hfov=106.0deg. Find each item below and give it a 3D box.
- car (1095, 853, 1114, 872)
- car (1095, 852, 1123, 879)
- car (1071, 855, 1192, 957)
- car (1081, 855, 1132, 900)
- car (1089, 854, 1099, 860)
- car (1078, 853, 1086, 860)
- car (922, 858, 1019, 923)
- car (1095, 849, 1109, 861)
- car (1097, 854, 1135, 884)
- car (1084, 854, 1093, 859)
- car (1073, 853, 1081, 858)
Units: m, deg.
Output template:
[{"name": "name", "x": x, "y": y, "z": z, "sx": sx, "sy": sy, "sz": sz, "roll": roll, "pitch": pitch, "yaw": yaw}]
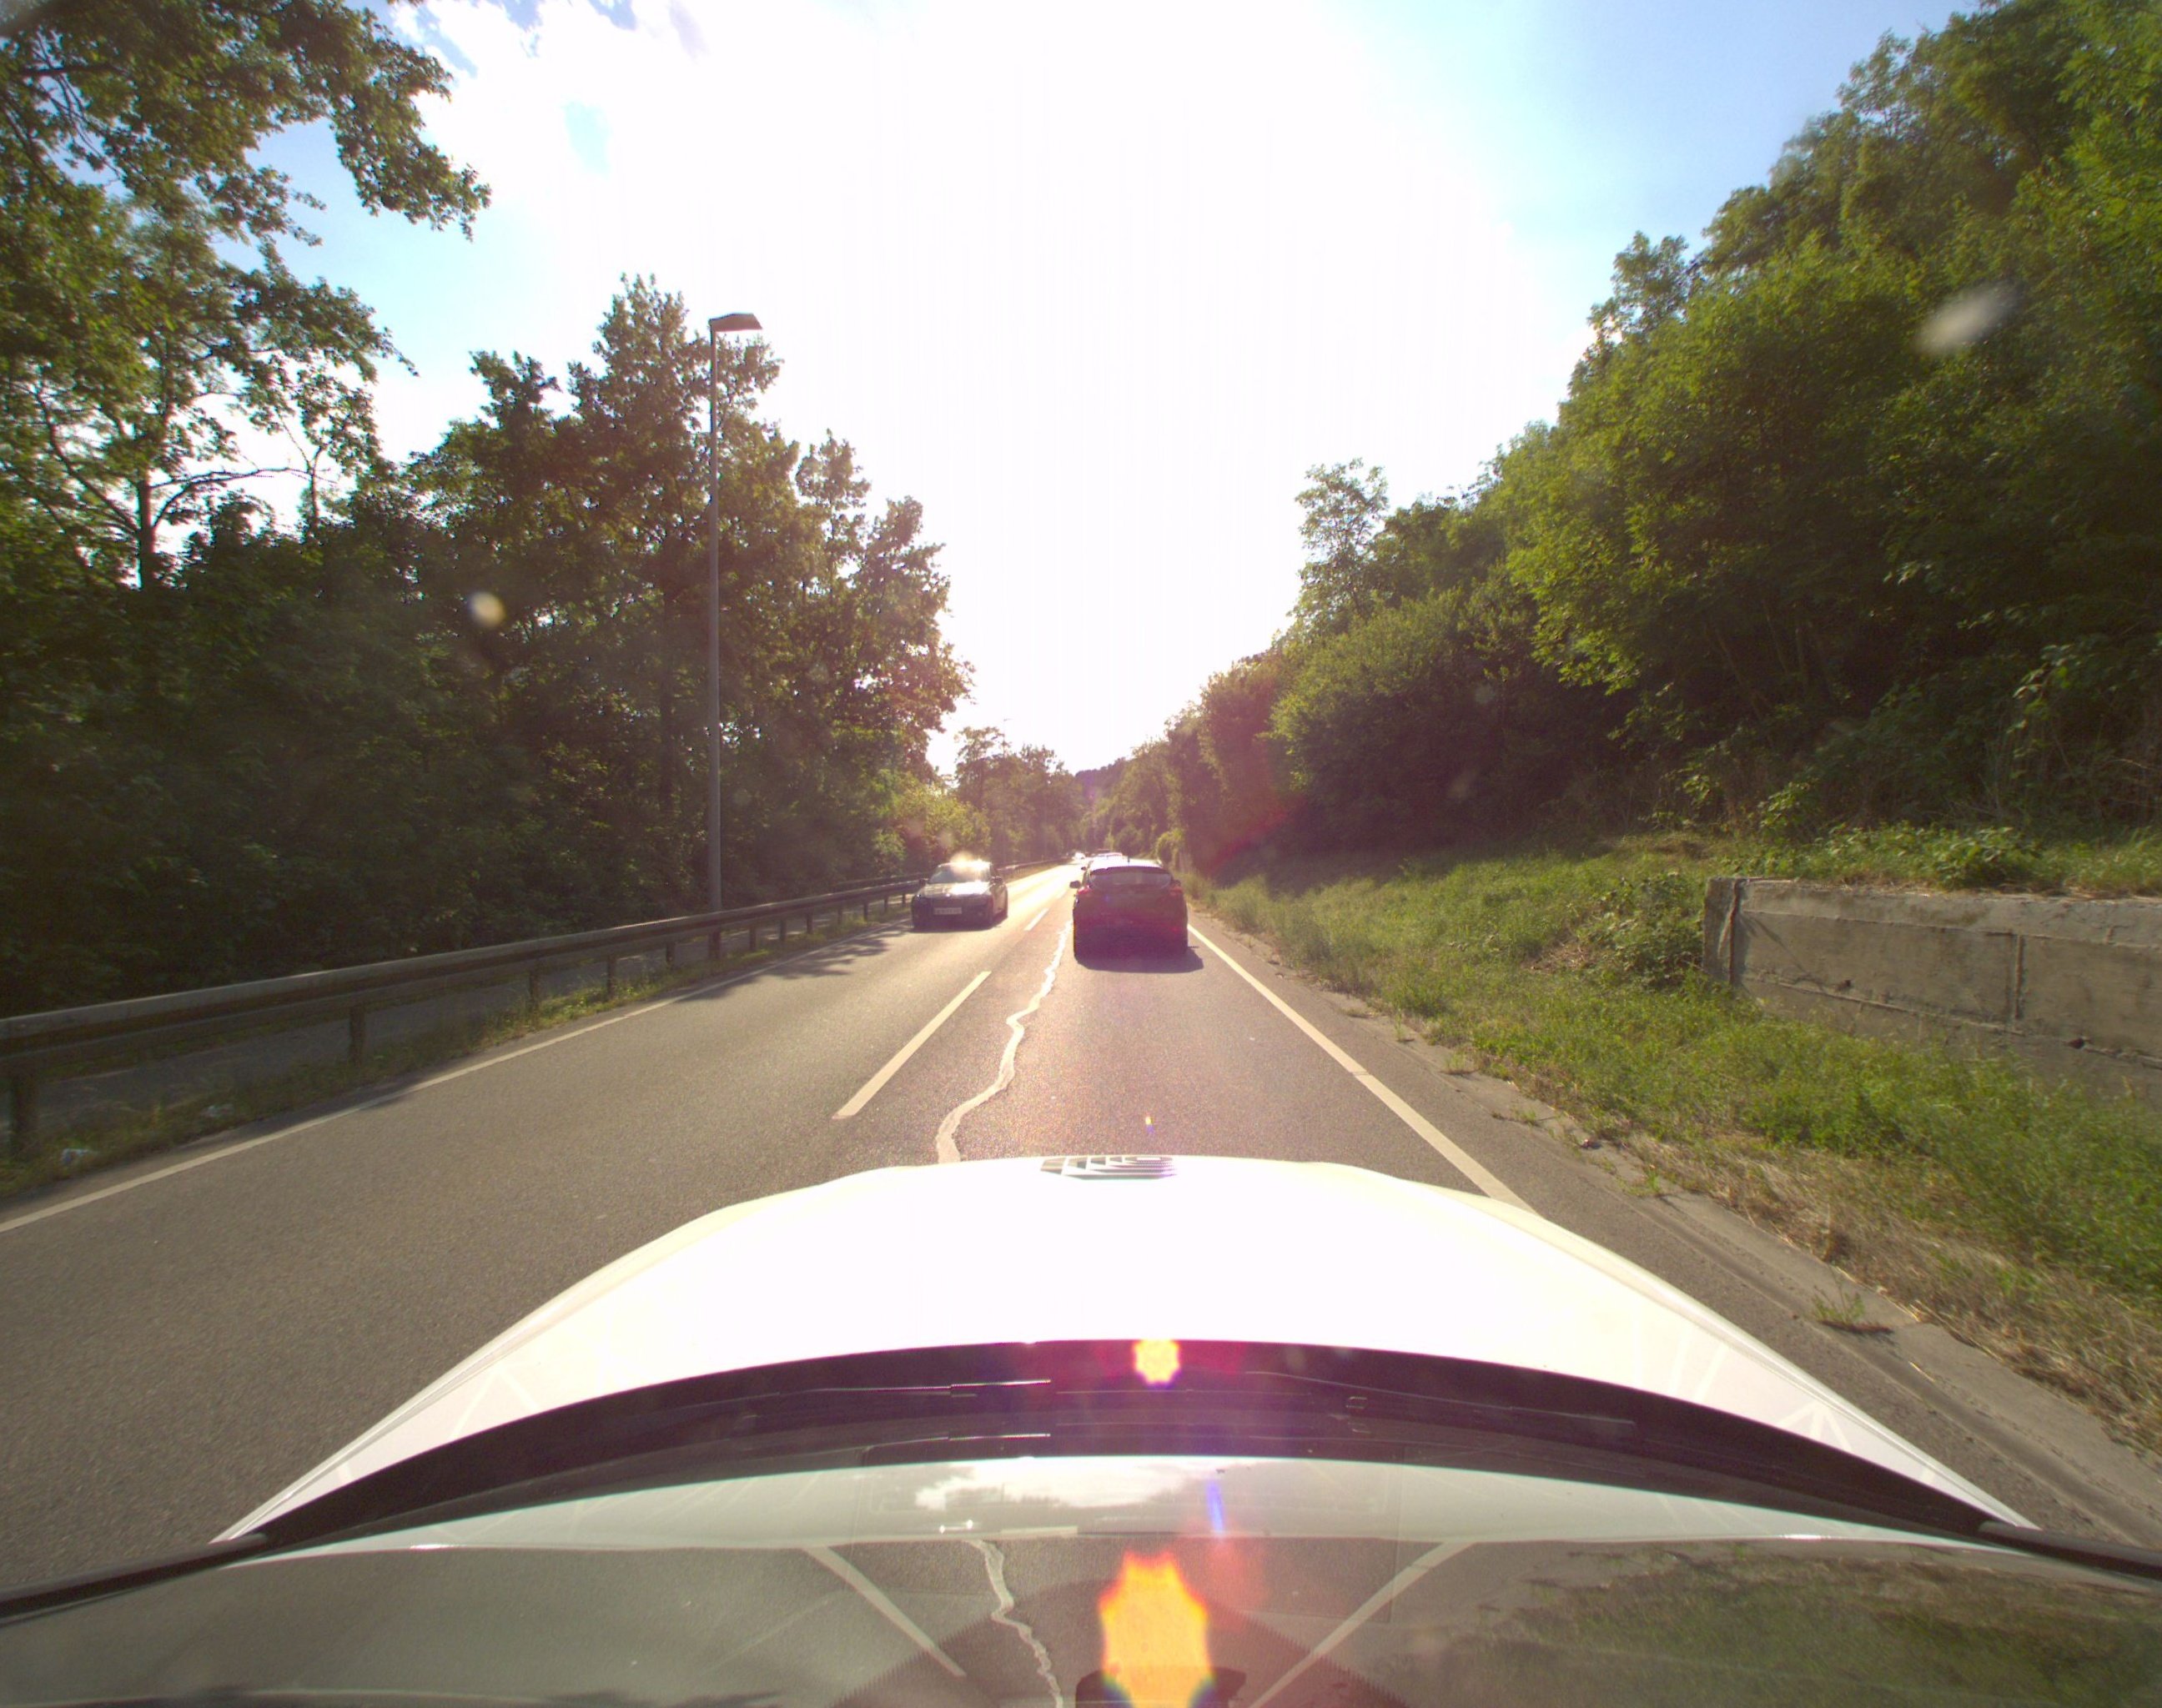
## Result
[{"name": "car", "x": 2.065, "y": 0.723, "z": 71.288, "sx": 1.624, "sy": 1.596, "sz": 4.002, "roll": -1, "pitch": 0, "yaw": 2}, {"name": "car", "x": 1.727, "y": 0.675, "z": 50.875, "sx": 1.624, "sy": 1.596, "sz": 4.002, "roll": -1, "pitch": 0, "yaw": 2}, {"name": "car", "x": 0.803, "y": 0.766, "z": 13.868, "sx": 1.733, "sy": 1.456, "sz": 4.002, "roll": -1, "pitch": 0, "yaw": 2}, {"name": "car", "x": 0.959, "y": 0.786, "z": 29.105, "sx": 1.654, "sy": 1.418, "sz": 4.003, "roll": -1, "pitch": 0, "yaw": 3}, {"name": "car", "x": 3.474, "y": 0.718, "z": 216.904, "sx": 1.991, "sy": 1.519, "sz": 3.992, "roll": -1, "pitch": 0, "yaw": -6}, {"name": "car", "x": 0.270, "y": 0.606, "z": 186.790, "sx": 1.617, "sy": 1.377, "sz": 4.048, "roll": -3, "pitch": 0, "yaw": 1}, {"name": "car", "x": -2.686, "y": 0.835, "z": 20.685, "sx": 1.685, "sy": 1.420, "sz": 4.145, "roll": -2, "pitch": 0, "yaw": 3}, {"name": "car", "x": 3.163, "y": 0.176, "z": 120.800, "sx": 1.858, "sy": 1.780, "sz": 3.998, "roll": -1, "pitch": 0, "yaw": -1}, {"name": "car", "x": 1.728, "y": 0.714, "z": 40.808, "sx": 1.798, "sy": 1.391, "sz": 4.002, "roll": -1, "pitch": 0, "yaw": 2}, {"name": "car", "x": 2.162, "y": 0.773, "z": 237.769, "sx": 1.991, "sy": 1.519, "sz": 3.992, "roll": -1, "pitch": 0, "yaw": -6}, {"name": "car", "x": -1.217, "y": 0.412, "z": 225.530, "sx": 1.680, "sy": 1.463, "sz": 4.187, "roll": -1, "pitch": 0, "yaw": -7}]
